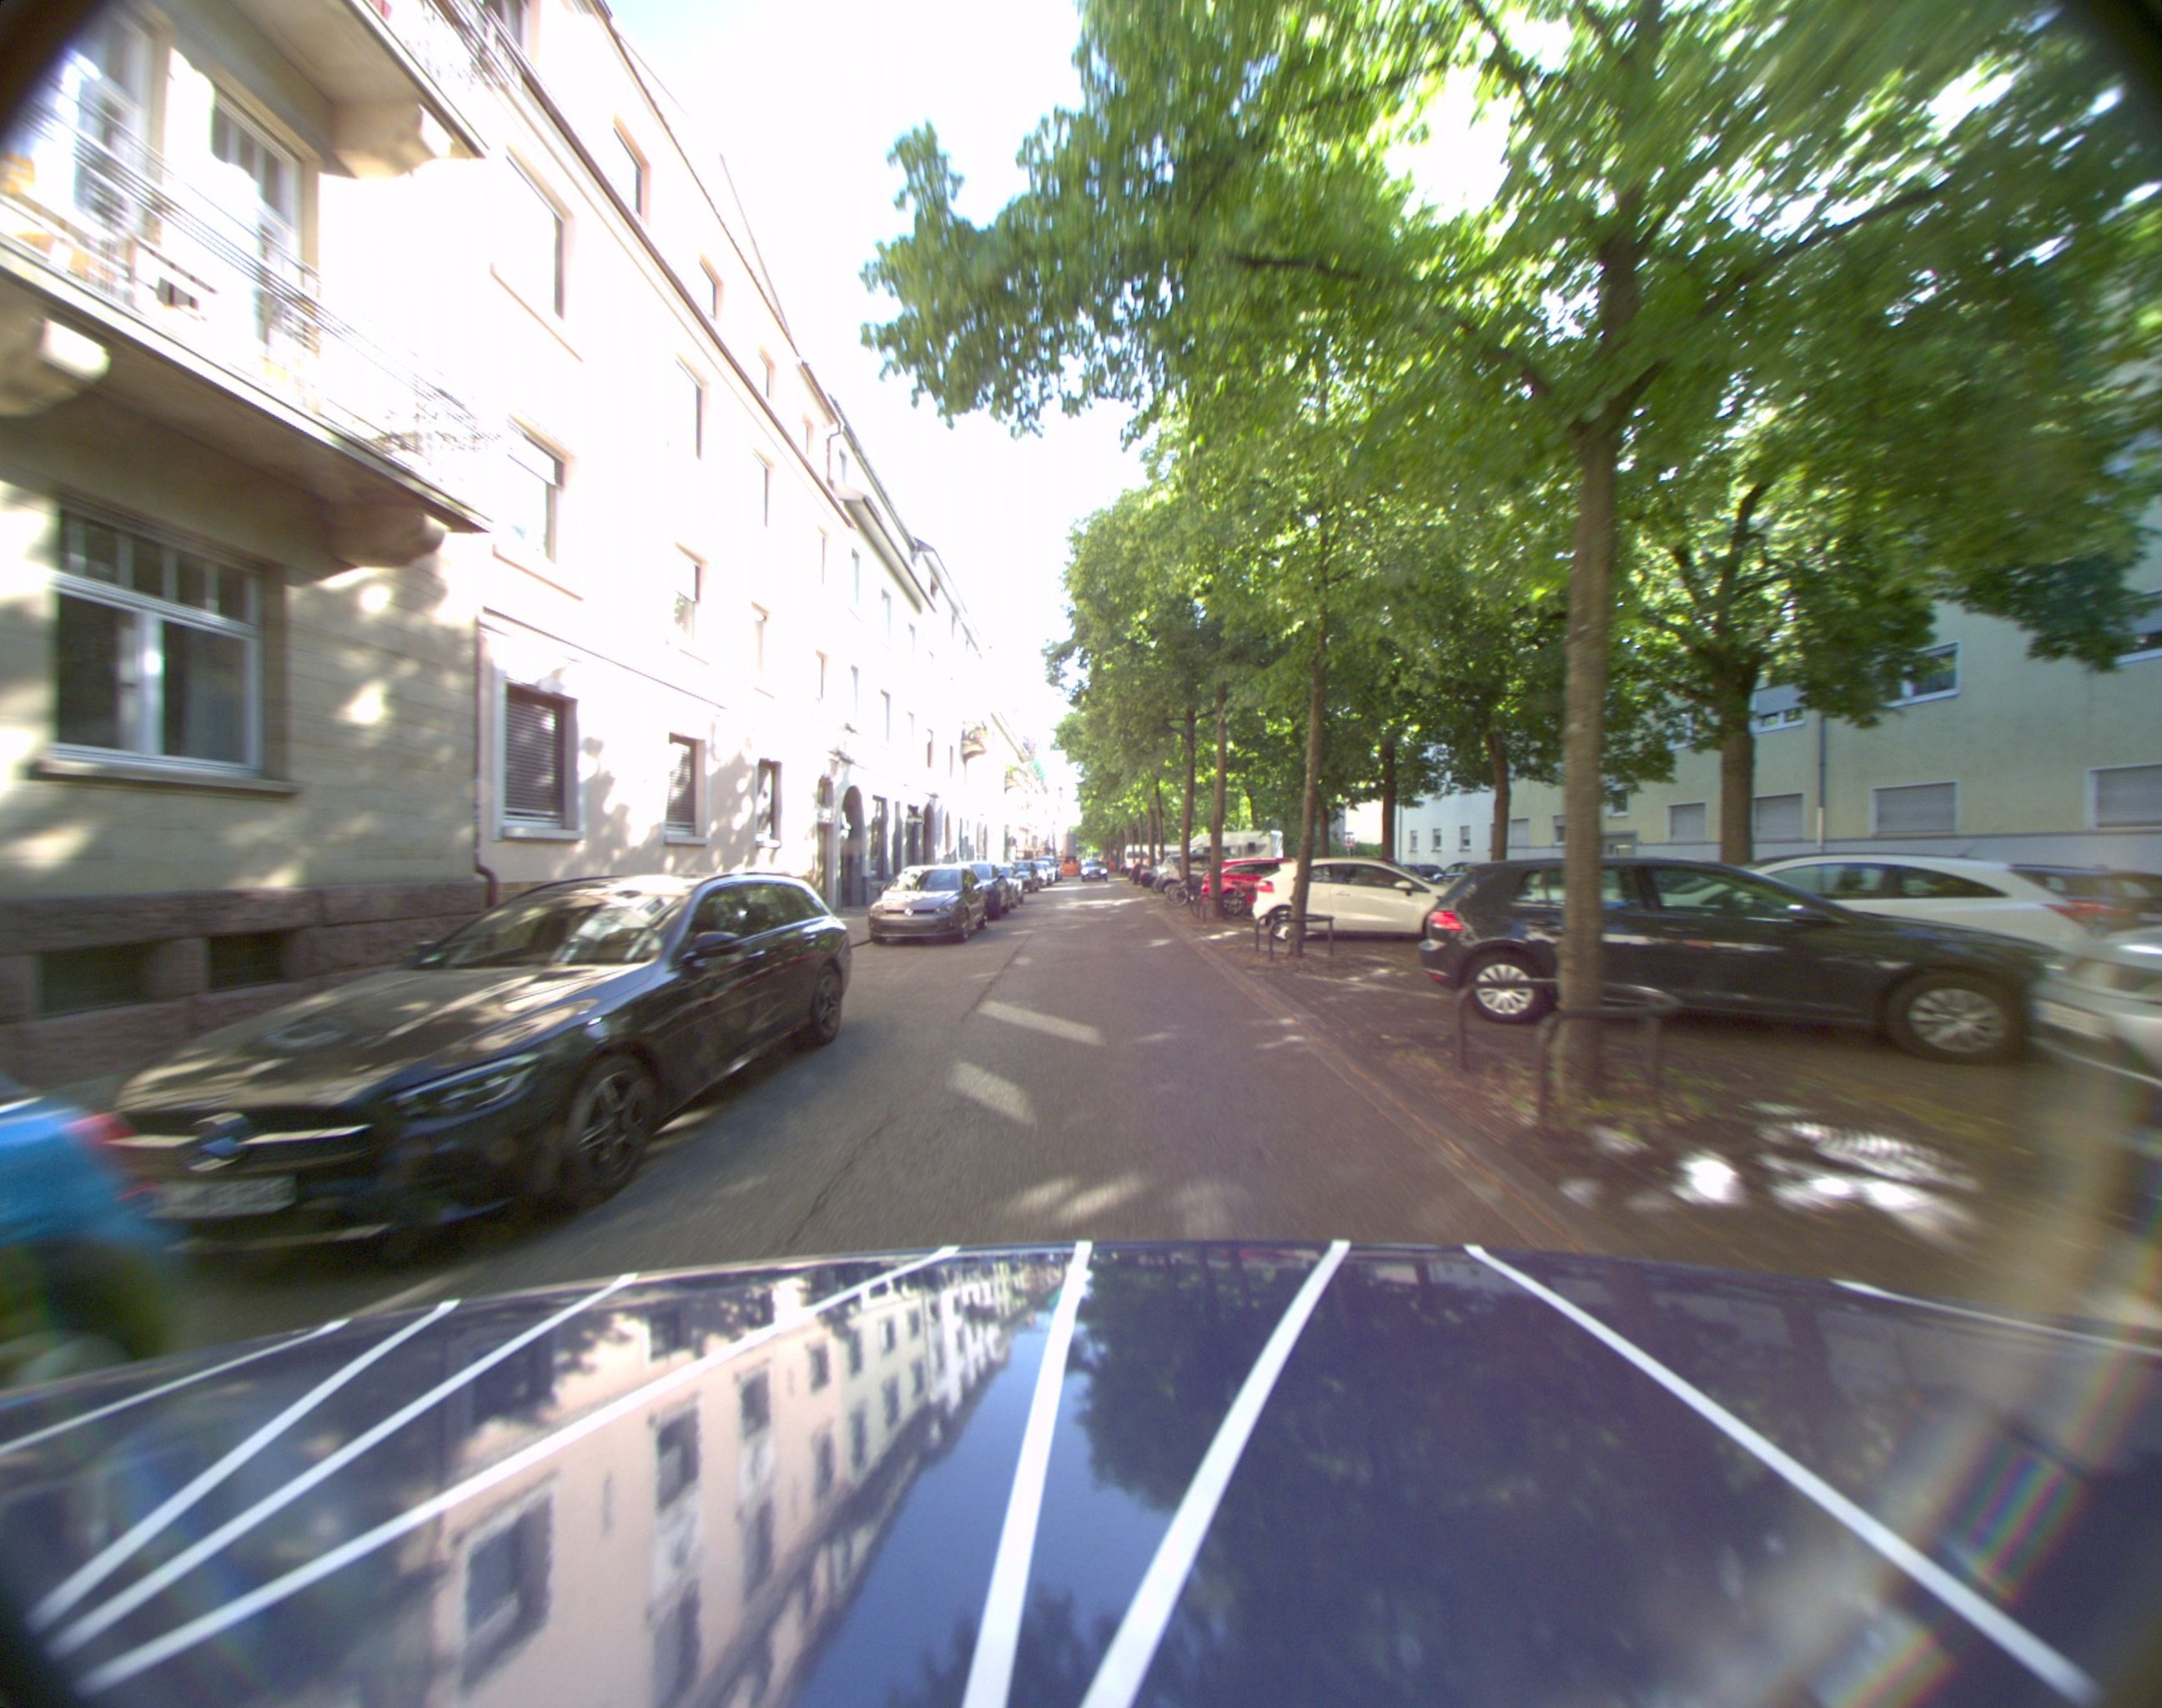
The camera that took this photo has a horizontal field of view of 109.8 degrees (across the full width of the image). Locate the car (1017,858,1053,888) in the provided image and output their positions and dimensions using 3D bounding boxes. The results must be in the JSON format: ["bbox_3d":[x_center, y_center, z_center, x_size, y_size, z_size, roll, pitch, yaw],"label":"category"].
[{"bbox_3d":[-2.476,1.017,41.727,1.603,1.484,3.967,2,0,1],"label":"car"}]

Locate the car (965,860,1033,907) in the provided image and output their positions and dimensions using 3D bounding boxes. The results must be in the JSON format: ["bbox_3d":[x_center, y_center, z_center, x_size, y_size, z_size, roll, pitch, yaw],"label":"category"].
[{"bbox_3d":[-2.692,0.936,25.840,1.774,1.423,4.291,-1,0,1],"label":"car"}]

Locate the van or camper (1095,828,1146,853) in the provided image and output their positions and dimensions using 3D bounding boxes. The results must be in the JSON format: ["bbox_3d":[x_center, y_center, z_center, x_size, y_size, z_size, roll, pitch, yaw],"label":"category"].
[{"bbox_3d":[5.002,-1.717,96.425,6.016,2.984,2.404,1,0,29],"label":"van or camper"}]

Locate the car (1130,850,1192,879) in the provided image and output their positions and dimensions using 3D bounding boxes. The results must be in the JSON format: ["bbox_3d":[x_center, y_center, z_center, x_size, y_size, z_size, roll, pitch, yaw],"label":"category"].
[{"bbox_3d":[4.769,0.613,45.632,1.667,1.608,3.870,1,0,-31],"label":"car"}]

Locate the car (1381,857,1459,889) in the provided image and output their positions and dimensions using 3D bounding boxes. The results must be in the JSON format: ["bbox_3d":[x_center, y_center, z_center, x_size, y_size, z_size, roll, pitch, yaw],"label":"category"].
[{"bbox_3d":[16.003,0.872,36.100,1.648,1.391,4.304,-2,0,-1],"label":"car"}]

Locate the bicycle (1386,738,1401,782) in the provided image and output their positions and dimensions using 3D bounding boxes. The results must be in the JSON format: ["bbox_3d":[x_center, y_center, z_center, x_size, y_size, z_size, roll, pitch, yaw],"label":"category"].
[{"bbox_3d":[9.945,-2.955,24.170,0.355,1.193,1.804,-1,0,25],"label":"bicycle"}]

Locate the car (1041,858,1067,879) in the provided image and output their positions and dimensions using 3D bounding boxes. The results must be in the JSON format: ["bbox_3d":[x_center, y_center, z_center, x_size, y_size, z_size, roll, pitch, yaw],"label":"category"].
[{"bbox_3d":[-2.016,1.076,57.794,1.709,1.502,4.284,1,0,1],"label":"car"}]

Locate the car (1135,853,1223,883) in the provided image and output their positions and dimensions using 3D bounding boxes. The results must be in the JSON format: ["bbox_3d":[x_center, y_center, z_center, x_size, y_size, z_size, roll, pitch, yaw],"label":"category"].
[{"bbox_3d":[5.011,0.687,38.969,4.145,1.417,1.718,0,1,33],"label":"car"}]

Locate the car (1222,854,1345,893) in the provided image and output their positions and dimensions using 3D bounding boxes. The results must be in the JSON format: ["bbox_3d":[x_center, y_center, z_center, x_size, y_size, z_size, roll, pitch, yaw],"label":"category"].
[{"bbox_3d":[7.715,0.720,29.095,4.187,1.383,1.822,0,0,34],"label":"car"}]

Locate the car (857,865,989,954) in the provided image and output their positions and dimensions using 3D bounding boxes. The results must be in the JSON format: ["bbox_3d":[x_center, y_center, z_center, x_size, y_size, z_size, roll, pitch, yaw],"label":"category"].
[{"bbox_3d":[-2.980,0.991,15.182,1.696,1.459,4.005,-1,0,1],"label":"car"}]

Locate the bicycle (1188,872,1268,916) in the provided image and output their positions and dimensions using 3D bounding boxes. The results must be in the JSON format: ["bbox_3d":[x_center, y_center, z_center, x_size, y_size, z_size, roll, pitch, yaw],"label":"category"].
[{"bbox_3d":[3.468,0.924,17.931,1.813,0.988,0.426,0,2,16],"label":"bicycle"}]

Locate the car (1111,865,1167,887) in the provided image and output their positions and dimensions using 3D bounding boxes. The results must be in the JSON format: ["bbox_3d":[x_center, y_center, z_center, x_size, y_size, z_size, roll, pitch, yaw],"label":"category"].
[{"bbox_3d":[4.696,1.804,61.660,4.090,1.516,1.705,-4,-2,31],"label":"car"}]

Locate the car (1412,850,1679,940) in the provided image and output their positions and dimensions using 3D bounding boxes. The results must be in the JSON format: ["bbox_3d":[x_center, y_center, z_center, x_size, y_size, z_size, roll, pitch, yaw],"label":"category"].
[{"bbox_3d":[8.447,0.662,14.037,3.988,1.427,1.801,0,0,35],"label":"car"}]

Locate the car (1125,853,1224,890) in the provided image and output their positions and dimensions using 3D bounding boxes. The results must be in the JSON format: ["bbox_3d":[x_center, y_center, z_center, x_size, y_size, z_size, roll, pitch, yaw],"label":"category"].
[{"bbox_3d":[4.044,0.742,33.181,4.008,1.465,1.630,1,0,36],"label":"car"}]

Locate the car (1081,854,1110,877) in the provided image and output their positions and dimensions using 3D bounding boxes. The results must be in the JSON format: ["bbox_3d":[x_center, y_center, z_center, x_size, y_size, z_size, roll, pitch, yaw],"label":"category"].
[{"bbox_3d":[1.037,0.756,52.168,1.792,1.510,4.001,1,0,3],"label":"car"}]

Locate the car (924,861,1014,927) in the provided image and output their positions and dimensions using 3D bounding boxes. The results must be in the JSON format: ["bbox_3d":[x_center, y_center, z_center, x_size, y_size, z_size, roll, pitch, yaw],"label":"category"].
[{"bbox_3d":[-2.938,1.007,20.796,1.771,1.542,4.183,-2,0,0],"label":"car"}]

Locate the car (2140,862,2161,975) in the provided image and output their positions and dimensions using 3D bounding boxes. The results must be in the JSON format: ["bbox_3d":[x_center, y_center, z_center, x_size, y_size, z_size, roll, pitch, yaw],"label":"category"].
[{"bbox_3d":[15.869,0.908,8.602,1.897,1.556,4.160,2,0,-1],"label":"car"}]

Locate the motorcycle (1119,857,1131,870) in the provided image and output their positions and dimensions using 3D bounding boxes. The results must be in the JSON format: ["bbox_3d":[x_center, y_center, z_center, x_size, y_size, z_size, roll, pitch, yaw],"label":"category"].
[{"bbox_3d":[4.416,0.966,76.257,0.631,1.317,2.231,-1,0,16],"label":"motorcycle"}]

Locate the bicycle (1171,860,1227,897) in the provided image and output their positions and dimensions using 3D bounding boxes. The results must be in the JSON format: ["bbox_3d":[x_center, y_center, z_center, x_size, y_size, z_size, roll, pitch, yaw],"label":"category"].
[{"bbox_3d":[3.772,0.796,24.340,1.687,1.152,0.379,-1,1,20],"label":"bicycle"}]

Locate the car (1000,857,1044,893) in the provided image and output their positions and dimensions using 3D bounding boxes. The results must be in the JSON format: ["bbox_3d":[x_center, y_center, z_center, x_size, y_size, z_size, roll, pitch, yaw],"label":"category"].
[{"bbox_3d":[-2.740,0.949,35.916,1.584,1.541,4.042,0,0,2],"label":"car"}]

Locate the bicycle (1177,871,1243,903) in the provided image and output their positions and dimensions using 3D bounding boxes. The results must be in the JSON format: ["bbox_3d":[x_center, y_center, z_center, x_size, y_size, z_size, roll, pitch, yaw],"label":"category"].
[{"bbox_3d":[3.878,0.987,22.821,1.900,0.913,0.379,-1,1,20],"label":"bicycle"}]

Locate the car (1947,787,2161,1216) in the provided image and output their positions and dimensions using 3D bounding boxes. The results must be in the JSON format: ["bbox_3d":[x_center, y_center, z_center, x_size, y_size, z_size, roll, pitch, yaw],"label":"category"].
[{"bbox_3d":[6.724,0.607,2.712,4.382,1.767,1.903,0,1,28],"label":"car"}]

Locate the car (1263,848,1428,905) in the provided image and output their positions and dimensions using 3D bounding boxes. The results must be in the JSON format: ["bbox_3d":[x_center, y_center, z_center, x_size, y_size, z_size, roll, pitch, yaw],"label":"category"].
[{"bbox_3d":[7.413,0.587,21.353,4.105,1.464,1.875,0,0,30],"label":"car"}]

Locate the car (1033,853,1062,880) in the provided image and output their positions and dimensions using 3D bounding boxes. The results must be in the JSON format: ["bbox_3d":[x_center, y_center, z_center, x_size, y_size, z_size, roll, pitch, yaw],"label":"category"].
[{"bbox_3d":[-2.292,0.817,52.773,1.776,1.783,3.989,1,0,0],"label":"car"}]

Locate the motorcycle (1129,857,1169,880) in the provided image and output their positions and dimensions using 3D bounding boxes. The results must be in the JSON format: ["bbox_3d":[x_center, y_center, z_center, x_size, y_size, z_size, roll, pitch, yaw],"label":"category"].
[{"bbox_3d":[3.825,0.810,42.660,2.151,1.222,0.882,-1,0,10],"label":"motorcycle"}]

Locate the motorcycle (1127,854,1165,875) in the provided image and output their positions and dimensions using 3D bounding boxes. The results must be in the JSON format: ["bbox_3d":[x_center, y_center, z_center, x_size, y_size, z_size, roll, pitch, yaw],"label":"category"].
[{"bbox_3d":[4.274,0.682,50.130,2.326,1.327,0.968,-2,0,-8],"label":"motorcycle"}]

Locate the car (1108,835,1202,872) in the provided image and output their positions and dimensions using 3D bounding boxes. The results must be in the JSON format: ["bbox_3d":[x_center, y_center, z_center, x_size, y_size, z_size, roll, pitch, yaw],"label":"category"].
[{"bbox_3d":[5.213,-0.021,54.016,6.310,2.544,2.343,0,1,33],"label":"car"}]

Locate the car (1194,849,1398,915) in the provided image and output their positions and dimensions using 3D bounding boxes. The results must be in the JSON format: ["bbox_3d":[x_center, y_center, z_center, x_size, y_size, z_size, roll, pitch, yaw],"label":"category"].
[{"bbox_3d":[5.368,0.670,19.205,4.616,1.477,1.764,-1,0,33],"label":"car"}]

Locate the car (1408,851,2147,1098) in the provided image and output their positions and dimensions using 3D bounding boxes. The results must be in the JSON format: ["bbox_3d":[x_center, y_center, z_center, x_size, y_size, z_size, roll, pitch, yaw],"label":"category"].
[{"bbox_3d":[5.093,0.725,6.370,4.098,1.473,1.735,0,1,32],"label":"car"}]

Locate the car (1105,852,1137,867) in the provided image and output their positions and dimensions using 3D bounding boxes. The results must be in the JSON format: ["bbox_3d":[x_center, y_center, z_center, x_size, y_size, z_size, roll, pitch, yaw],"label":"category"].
[{"bbox_3d":[5.933,0.760,112.903,4.386,2.155,1.774,1,0,28],"label":"car"}]

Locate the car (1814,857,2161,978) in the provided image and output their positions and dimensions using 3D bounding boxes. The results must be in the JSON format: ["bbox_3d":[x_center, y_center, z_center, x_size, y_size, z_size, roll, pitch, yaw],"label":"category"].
[{"bbox_3d":[15.789,0.953,13.192,1.850,1.709,4.378,2,0,1],"label":"car"}]

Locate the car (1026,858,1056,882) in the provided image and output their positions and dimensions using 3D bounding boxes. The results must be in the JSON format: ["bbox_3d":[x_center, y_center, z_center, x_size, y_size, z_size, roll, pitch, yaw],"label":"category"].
[{"bbox_3d":[-2.426,0.951,47.123,1.611,1.412,4.568,1,0,0],"label":"car"}]

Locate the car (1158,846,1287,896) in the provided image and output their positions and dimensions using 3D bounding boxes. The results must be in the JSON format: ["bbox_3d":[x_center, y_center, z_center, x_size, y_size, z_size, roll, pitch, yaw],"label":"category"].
[{"bbox_3d":[4.977,0.579,26.850,4.078,1.643,1.866,-1,0,28],"label":"car"}]

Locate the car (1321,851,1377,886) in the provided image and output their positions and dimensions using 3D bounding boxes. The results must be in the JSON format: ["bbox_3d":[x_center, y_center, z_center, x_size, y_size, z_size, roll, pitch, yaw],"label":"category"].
[{"bbox_3d":[16.241,0.872,46.235,1.998,2.002,4.000,1,0,1],"label":"car"}]

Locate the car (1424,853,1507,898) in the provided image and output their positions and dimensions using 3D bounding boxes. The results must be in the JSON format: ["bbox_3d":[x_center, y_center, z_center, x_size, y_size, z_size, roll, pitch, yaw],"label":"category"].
[{"bbox_3d":[15.898,0.860,31.599,1.478,1.667,3.600,3,0,-1],"label":"car"}]

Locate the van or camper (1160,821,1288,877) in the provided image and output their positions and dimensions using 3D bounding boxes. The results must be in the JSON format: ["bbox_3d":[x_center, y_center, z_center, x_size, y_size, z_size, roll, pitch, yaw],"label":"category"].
[{"bbox_3d":[7.660,-0.208,40.969,6.290,2.808,2.412,-1,0,30],"label":"van or camper"}]

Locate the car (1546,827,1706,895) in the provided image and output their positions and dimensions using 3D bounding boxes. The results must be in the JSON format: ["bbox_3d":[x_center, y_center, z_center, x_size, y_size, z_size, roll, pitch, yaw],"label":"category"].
[{"bbox_3d":[15.565,0.188,21.960,1.705,1.743,3.837,-2,0,-3],"label":"car"}]

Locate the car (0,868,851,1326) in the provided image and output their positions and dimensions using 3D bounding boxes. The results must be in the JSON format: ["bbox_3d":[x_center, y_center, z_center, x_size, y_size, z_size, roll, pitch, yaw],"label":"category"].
[{"bbox_3d":[-3.042,0.917,4.888,1.810,1.554,4.320,1,0,0],"label":"car"}]

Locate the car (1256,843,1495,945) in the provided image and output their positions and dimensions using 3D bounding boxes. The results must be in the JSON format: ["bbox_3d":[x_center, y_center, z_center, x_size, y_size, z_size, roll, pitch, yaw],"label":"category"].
[{"bbox_3d":[5.137,0.649,13.374,3.685,1.586,1.776,-1,0,26],"label":"car"}]

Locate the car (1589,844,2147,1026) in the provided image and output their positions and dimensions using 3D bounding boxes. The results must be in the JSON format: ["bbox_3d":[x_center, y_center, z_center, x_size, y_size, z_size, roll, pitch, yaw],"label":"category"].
[{"bbox_3d":[7.988,0.693,8.356,3.905,1.546,1.850,1,0,32],"label":"car"}]
